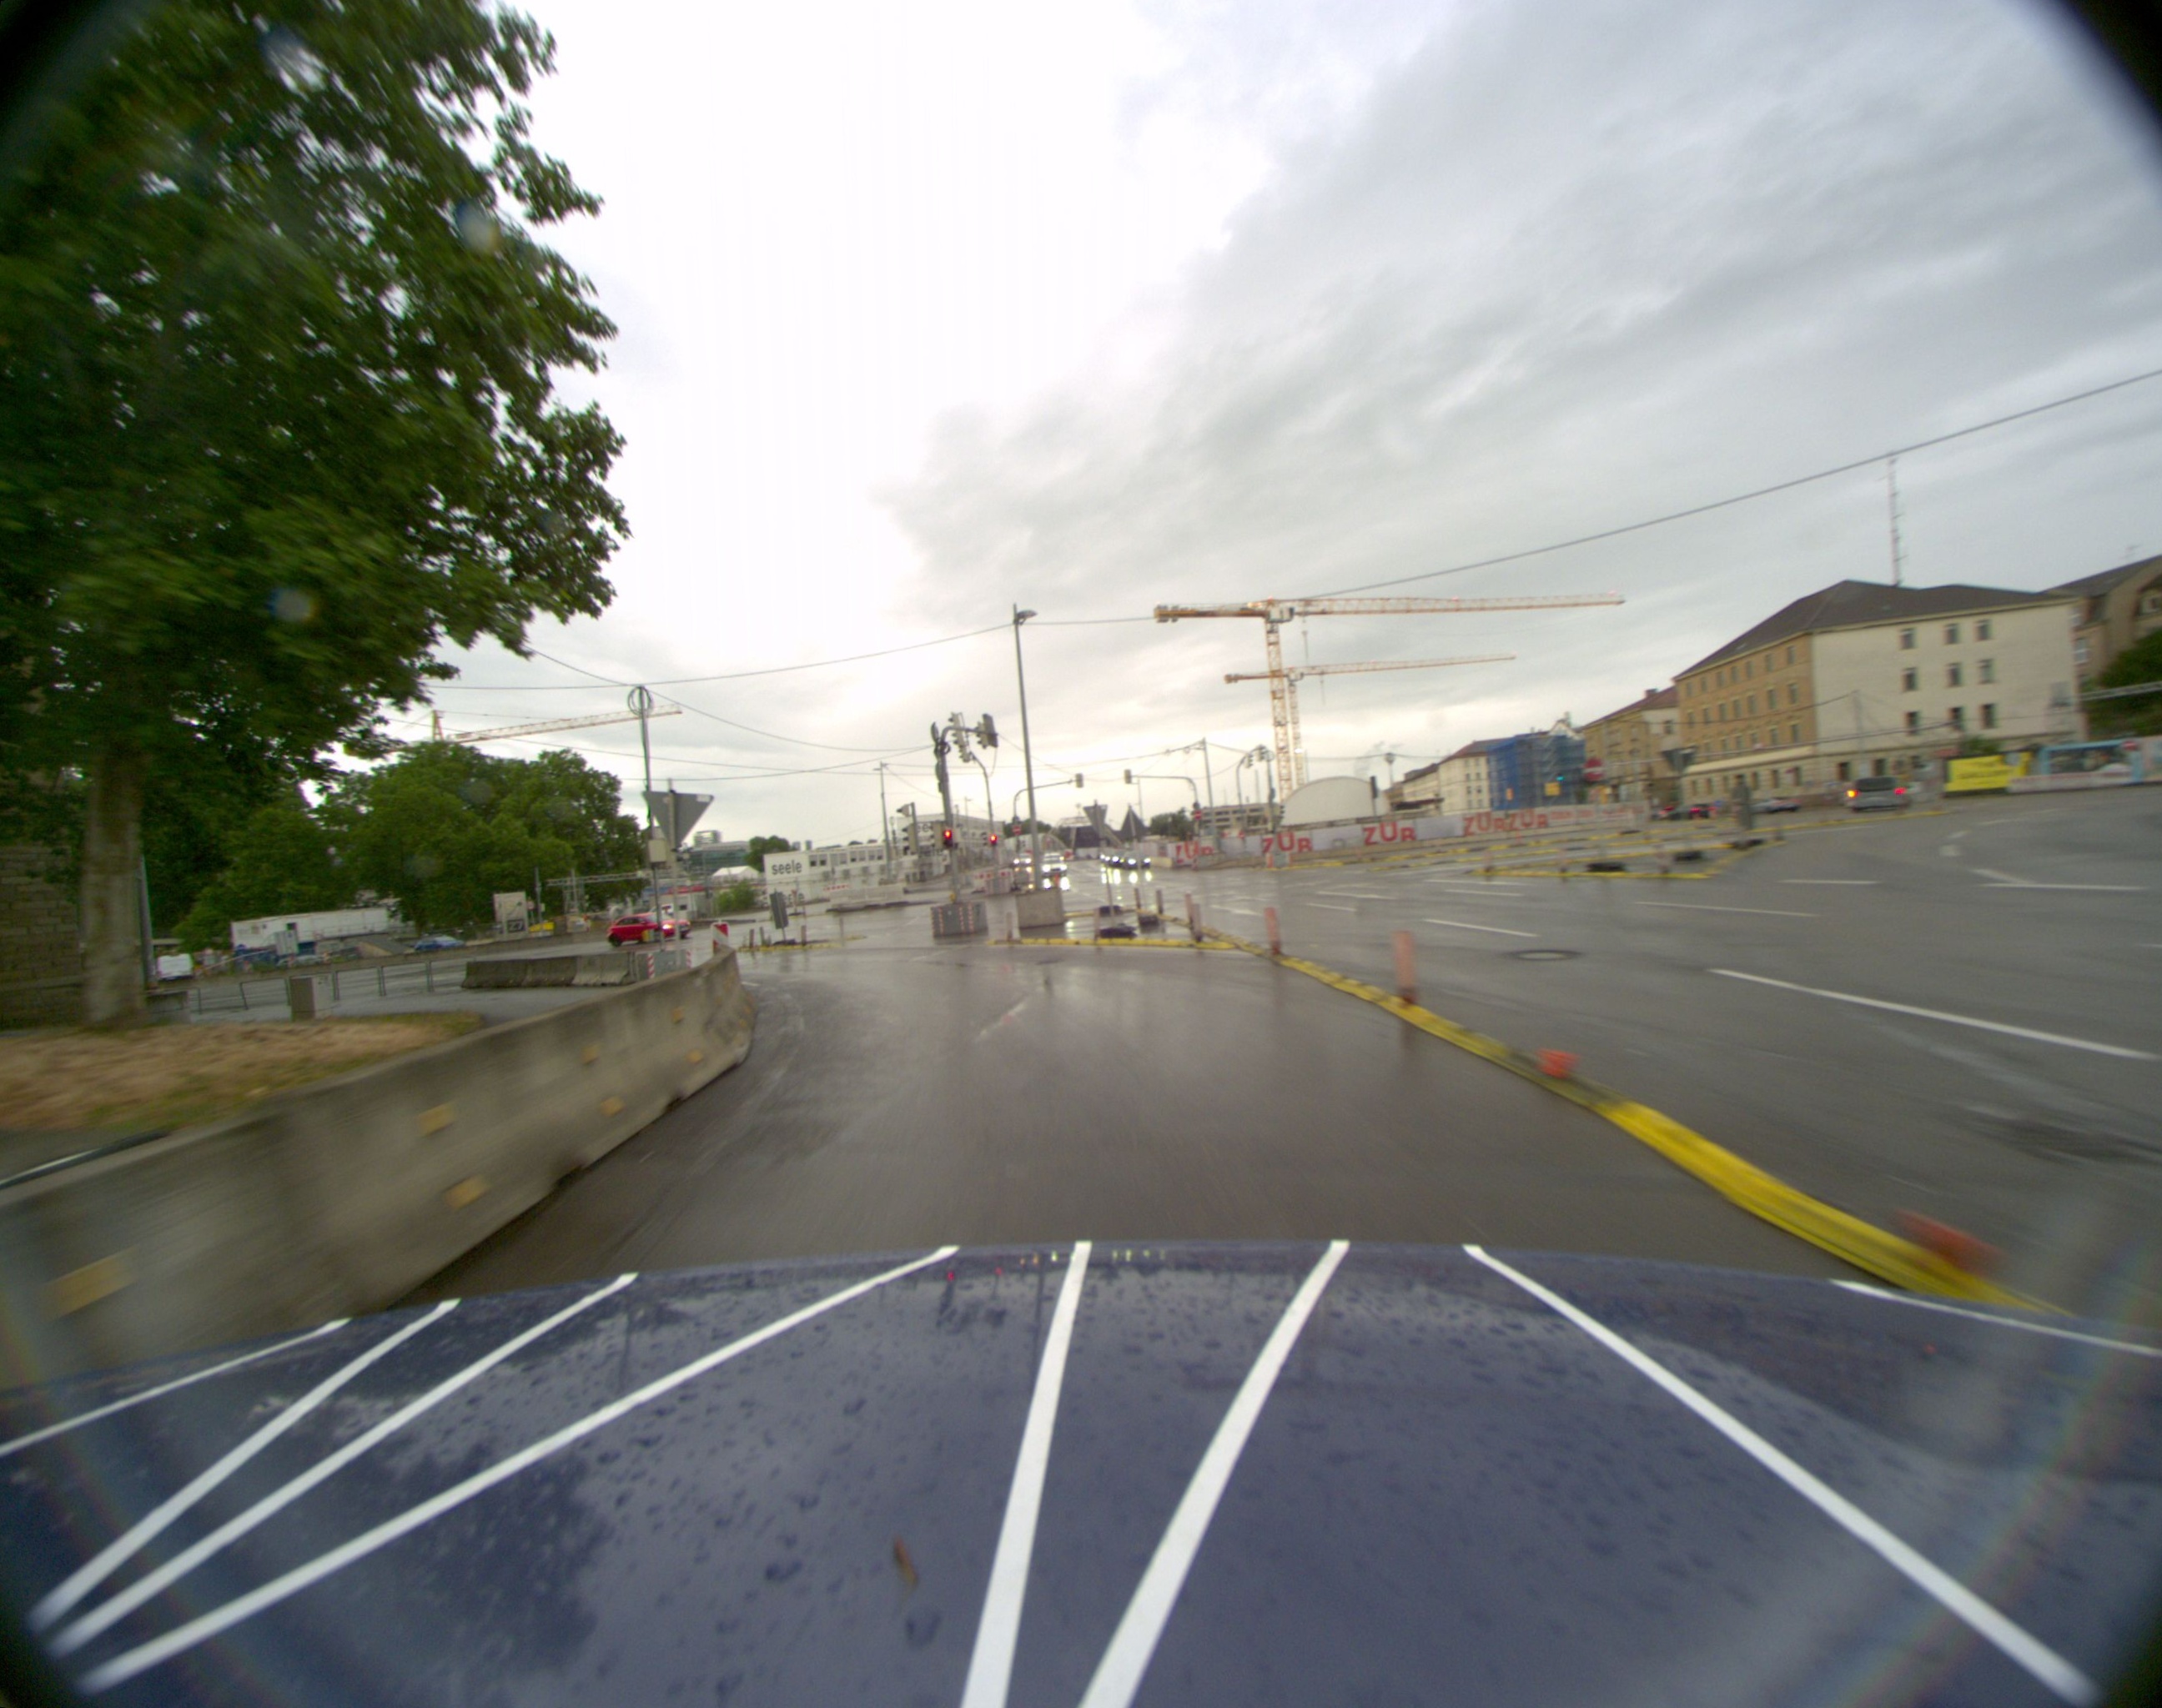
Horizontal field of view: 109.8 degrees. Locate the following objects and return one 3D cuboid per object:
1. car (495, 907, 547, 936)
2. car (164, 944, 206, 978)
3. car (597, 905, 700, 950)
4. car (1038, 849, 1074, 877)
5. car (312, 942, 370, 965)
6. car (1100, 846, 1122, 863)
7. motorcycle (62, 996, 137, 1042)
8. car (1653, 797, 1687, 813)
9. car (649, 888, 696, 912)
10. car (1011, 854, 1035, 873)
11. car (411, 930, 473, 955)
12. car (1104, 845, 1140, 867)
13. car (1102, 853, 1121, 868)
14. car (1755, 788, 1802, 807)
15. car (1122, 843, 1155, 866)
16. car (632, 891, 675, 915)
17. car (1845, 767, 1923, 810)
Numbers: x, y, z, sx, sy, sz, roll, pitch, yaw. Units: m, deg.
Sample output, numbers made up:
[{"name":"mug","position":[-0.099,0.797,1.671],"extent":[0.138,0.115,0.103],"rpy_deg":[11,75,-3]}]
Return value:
[{"name":"car","position":[-58.222,7.006,79.044],"extent":[3.994,2.370,2.001],"rpy_deg":[-7,1,13]},{"name":"car","position":[-83.897,10.036,71.148],"extent":[4.582,2.722,2.083],"rpy_deg":[-6,1,37]},{"name":"car","position":[-20.849,3.533,36.713],"extent":[3.995,1.543,1.691],"rpy_deg":[-7,1,9]},{"name":"car","position":[-2.049,0.731,61.365],"extent":[2.000,2.002,4.419],"rpy_deg":[-7,1,-11]},{"name":"car","position":[-66.823,9.015,68.582],"extent":[4.431,1.481,1.843],"rpy_deg":[-7,1,19]},{"name":"car","position":[3.226,0.066,82.155],"extent":[1.998,1.548,4.524],"rpy_deg":[-7,1,0]},{"name":"motorcycle","position":[-29.545,4.973,22.879],"extent":[1.896,1.132,0.548],"rpy_deg":[-7,1,13]},{"name":"car","position":[63.774,-5.289,82.303],"extent":[1.648,1.456,3.417],"rpy_deg":[-7,3,15]},{"name":"car","position":[-52.736,5.907,98.269],"extent":[4.953,2.370,1.997],"rpy_deg":[-7,1,-23]},{"name":"car","position":[-6.539,1.102,86.347],"extent":[1.998,1.762,4.357],"rpy_deg":[-7,1,3]},{"name":"car","position":[-54.161,7.533,64.437],"extent":[4.432,1.481,1.843],"rpy_deg":[-7,1,18]},{"name":"car","position":[3.627,0.182,67.950],"extent":[2.000,1.707,4.419],"rpy_deg":[-7,1,-11]},{"name":"car","position":[2.974,0.584,75.256],"extent":[1.649,1.171,4.288],"rpy_deg":[-6,1,0]},{"name":"car","position":[59.349,-4.824,64.734],"extent":[1.580,1.340,3.809],"rpy_deg":[-6,3,20]},{"name":"car","position":[4.656,0.023,62.297],"extent":[1.861,1.557,3.799],"rpy_deg":[-7,1,-7]},{"name":"car","position":[-53.526,6.121,95.245],"extent":[4.001,2.370,1.998],"rpy_deg":[-7,1,-13]},{"name":"car","position":[43.310,-3.532,40.954],"extent":[4.689,1.829,1.995],"rpy_deg":[-8,2,-33]}]
